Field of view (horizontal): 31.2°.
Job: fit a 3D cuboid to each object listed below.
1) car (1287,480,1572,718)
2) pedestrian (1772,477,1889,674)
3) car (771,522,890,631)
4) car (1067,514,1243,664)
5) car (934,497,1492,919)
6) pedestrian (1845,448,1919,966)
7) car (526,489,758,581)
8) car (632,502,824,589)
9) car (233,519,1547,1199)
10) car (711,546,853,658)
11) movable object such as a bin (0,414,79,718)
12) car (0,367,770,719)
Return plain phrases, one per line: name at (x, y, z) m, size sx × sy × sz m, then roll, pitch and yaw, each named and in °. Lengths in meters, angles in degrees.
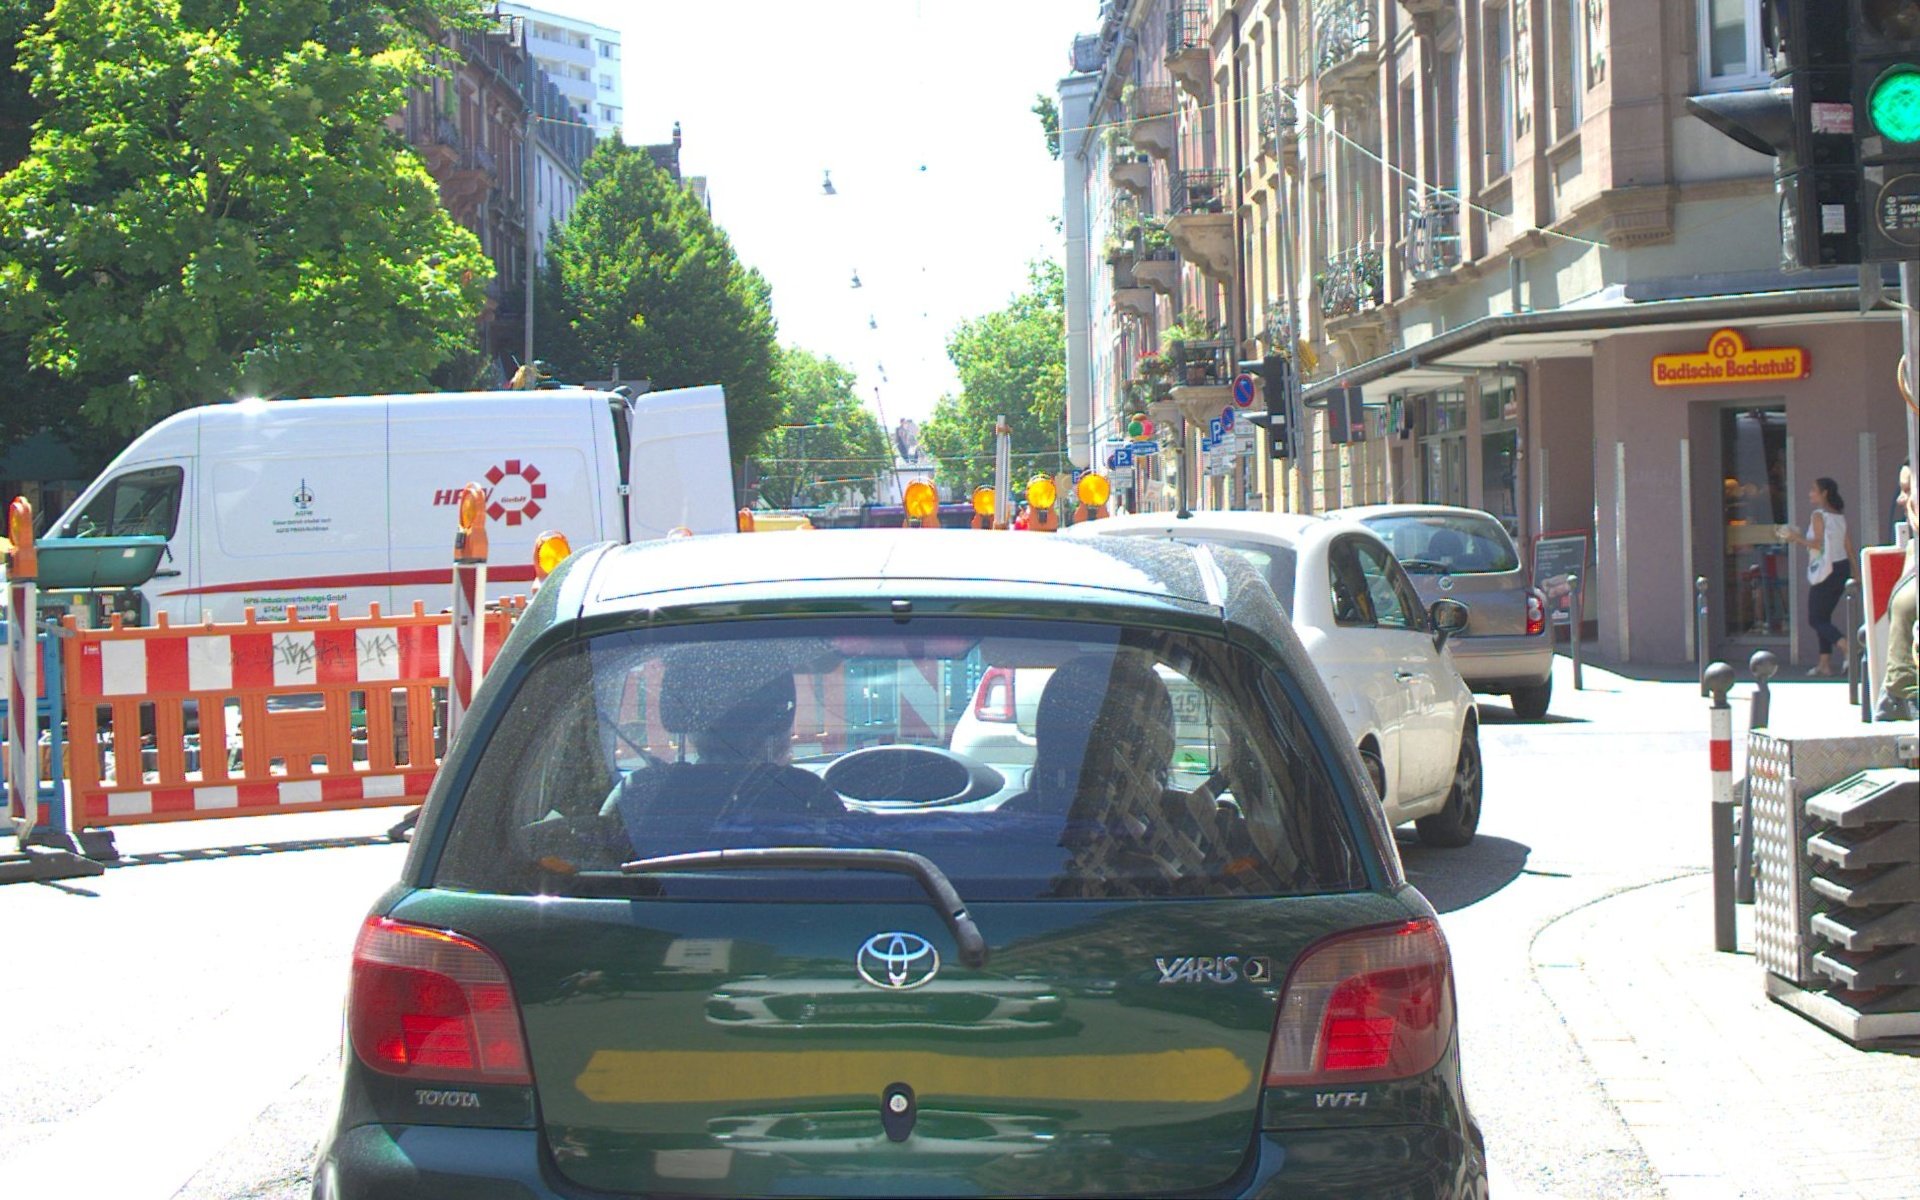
car at (3.363, -0.049, 25.109) m, size 1.522 × 1.587 × 3.264 m, roll -1°, pitch 2°, yaw -2°
pedestrian at (7.245, -0.207, 28.601) m, size 0.802 × 1.618 × 0.642 m, roll -1°, pitch 1°, yaw 26°
car at (-2.154, -0.424, 58.065) m, size 1.754 × 1.639 × 4.378 m, roll -4°, pitch 1°, yaw 0°
car at (2.091, -0.154, 36.080) m, size 1.627 × 1.427 × 3.660 m, roll -2°, pitch 1°, yaw 6°
car at (1.155, 0.357, 14.239) m, size 1.524 × 1.516 × 3.261 m, roll -1°, pitch 2°, yaw 18°
pedestrian at (3.001, 0.315, 10.542) m, size 0.459 × 1.555 × 0.479 m, roll -1°, pitch 1°, yaw 6°
car at (-7.201, -1.488, 77.880) m, size 4.773 × 1.987 × 2.054 m, roll -2°, pitch 1°, yaw -29°
car at (-6.091, -1.452, 90.284) m, size 4.557 × 2.180 × 2.000 m, roll -2°, pitch 1°, yaw -27°
car at (-0.009, 0.623, 5.855) m, size 1.614 × 1.480 × 3.241 m, roll 0°, pitch 2°, yaw 3°
car at (-2.456, -0.004, 48.275) m, size 1.754 × 1.439 × 4.000 m, roll -2°, pitch 1°, yaw 0°
movable object such as a bin at (-10.426, -0.329, 30.902) m, size 4.543 × 2.650 × 1.955 m, roll 0°, pitch 1°, yaw -2°
car at (-4.973, -0.481, 28.432) m, size 6.622 × 2.742 × 2.380 m, roll 0°, pitch 1°, yaw 1°
